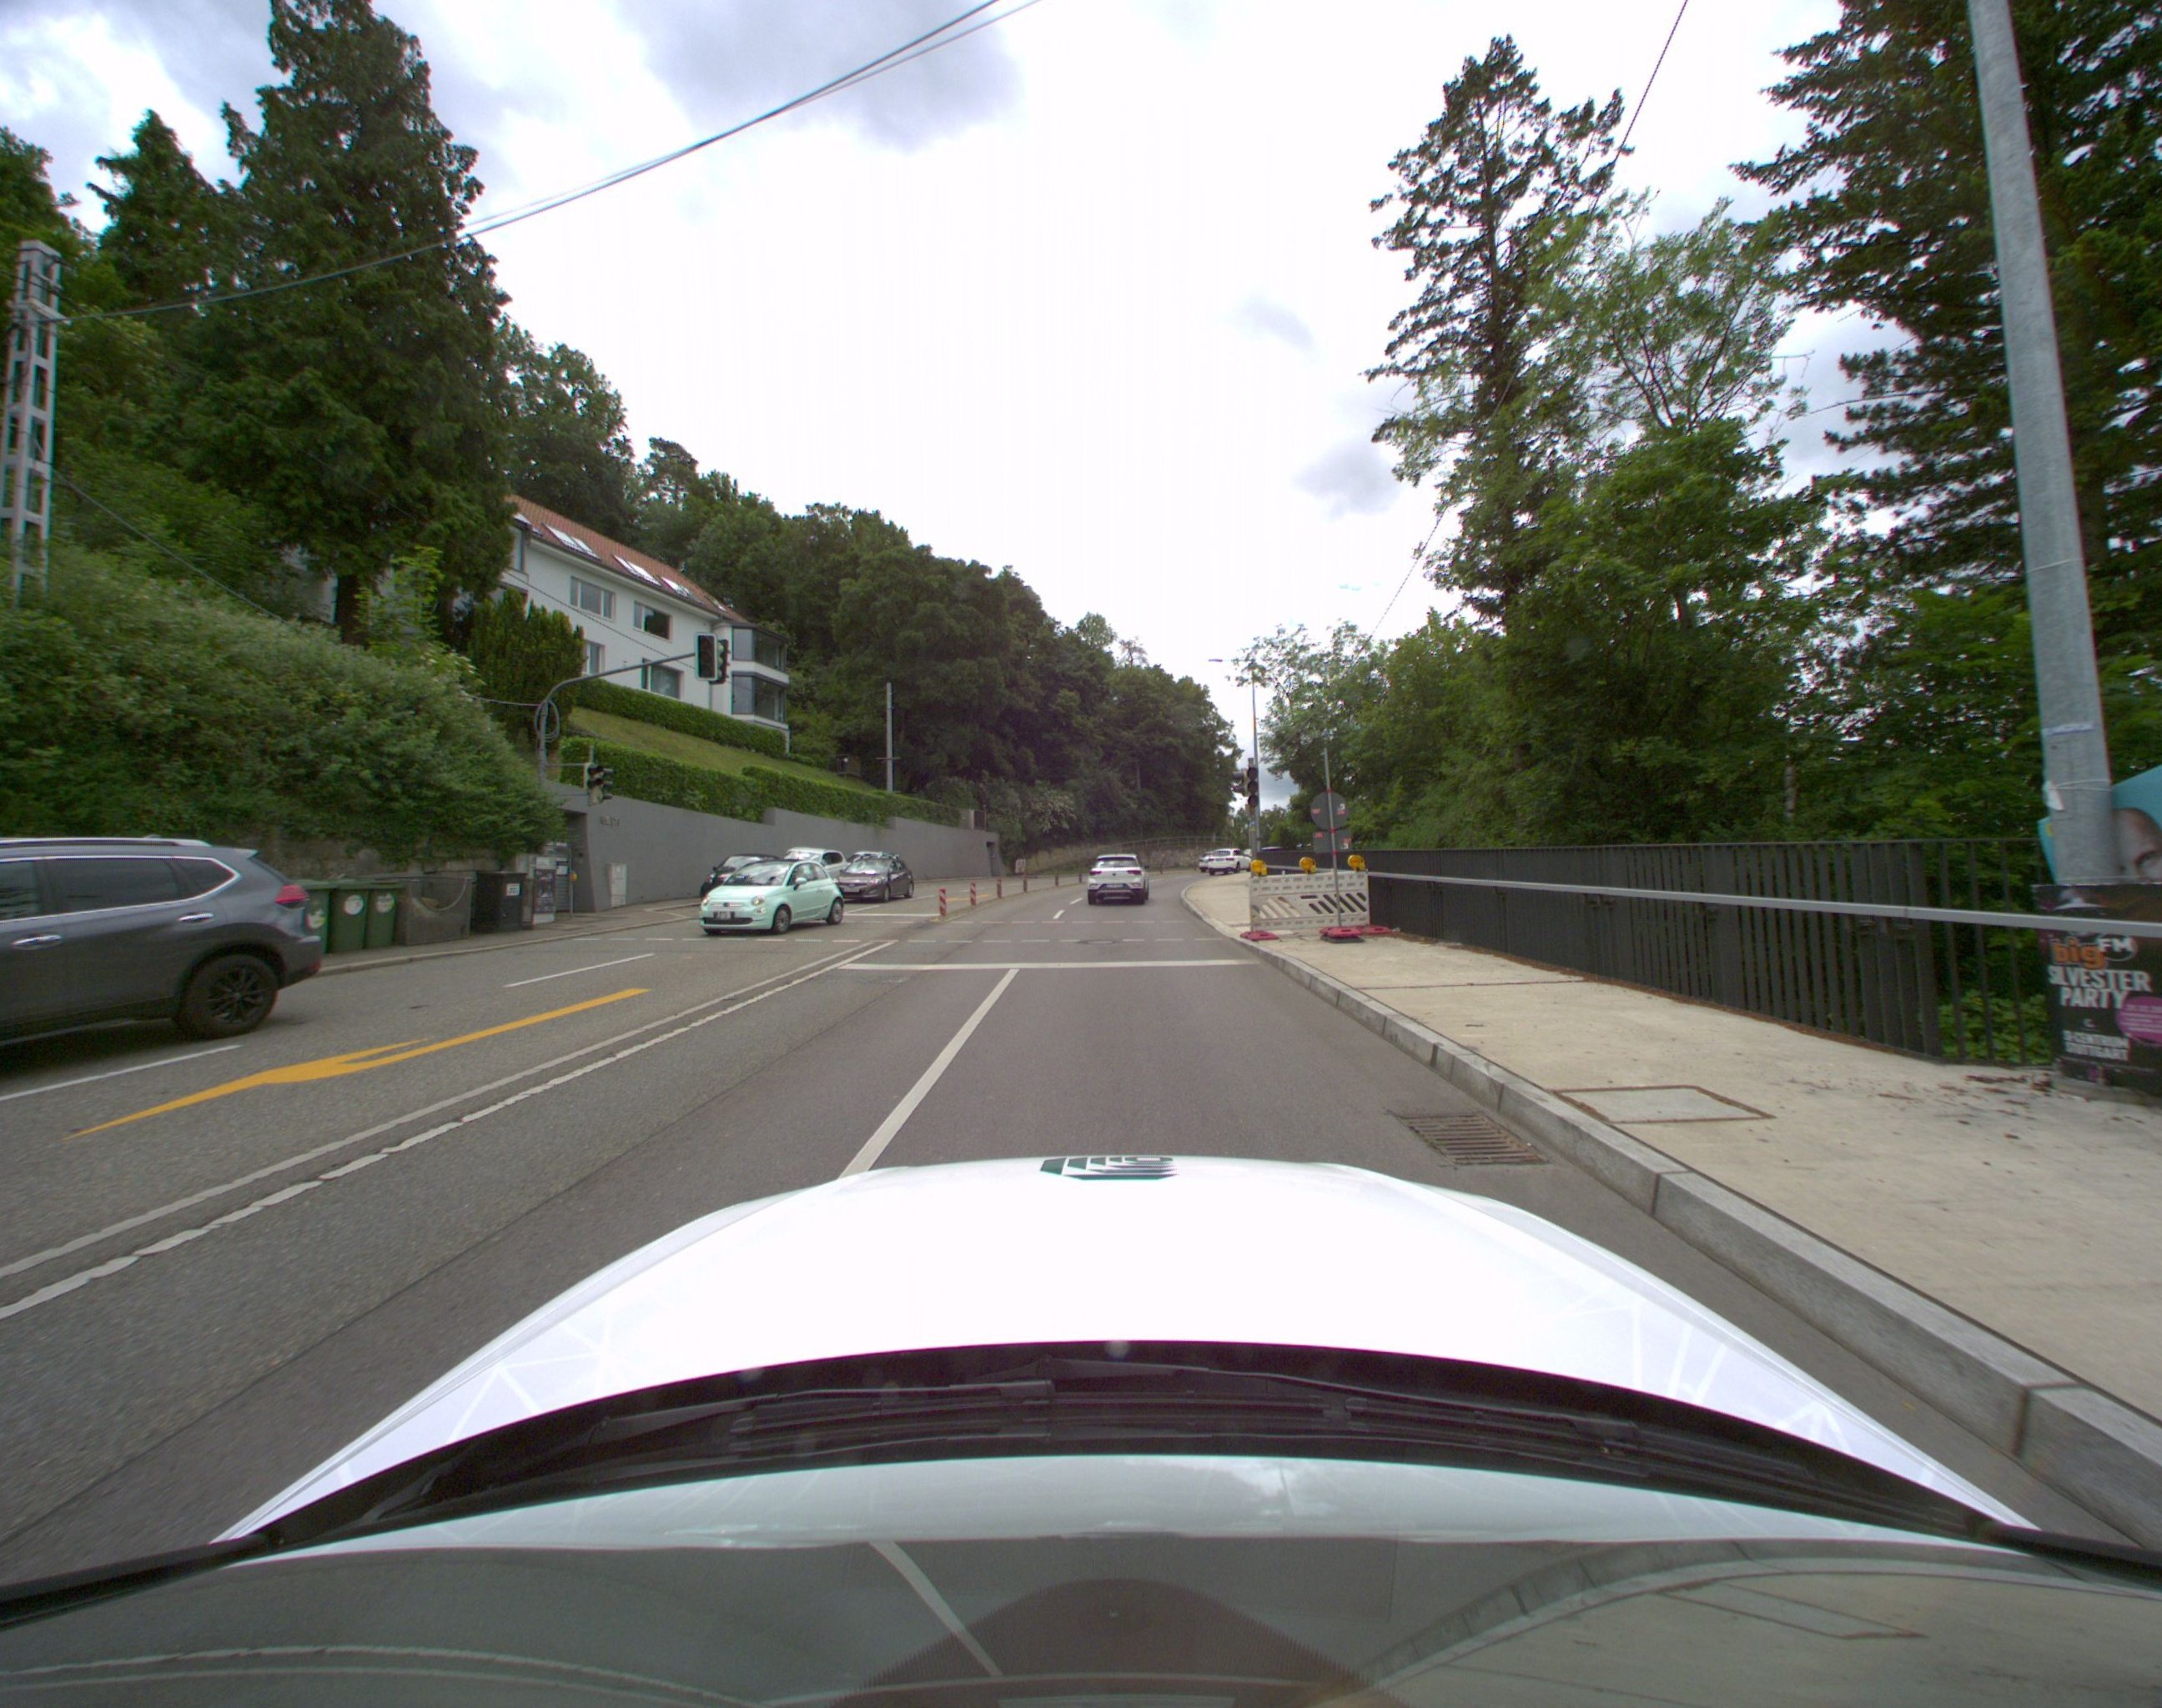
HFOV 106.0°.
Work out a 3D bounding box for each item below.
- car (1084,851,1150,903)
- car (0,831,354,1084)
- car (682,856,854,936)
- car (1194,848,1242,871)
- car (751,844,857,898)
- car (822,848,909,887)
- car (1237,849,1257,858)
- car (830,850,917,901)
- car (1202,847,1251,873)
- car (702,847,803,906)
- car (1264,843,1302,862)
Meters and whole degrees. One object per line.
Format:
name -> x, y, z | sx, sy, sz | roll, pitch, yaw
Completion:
car -> 1.238, 0.696, 26.300 | 1.857, 1.536, 3.811 | 0, 0, 6
car -> -8.189, 0.700, 5.716 | 1.876, 1.697, 4.673 | 0, 0, 2
car -> -6.417, 0.785, 17.137 | 1.700, 1.466, 3.671 | 0, 0, 10
car -> 9.826, 0.418, 58.201 | 1.888, 1.574, 4.025 | 0, 0, 34
car -> -9.822, 0.564, 29.351 | 1.851, 1.731, 4.766 | 1, 0, 4
car -> -9.183, 0.566, 35.081 | 1.821, 1.572, 4.488 | 1, 0, 11
car -> 27.719, -0.075, 135.891 | 1.907, 1.574, 3.985 | 1, 0, -11
car -> -6.947, 0.698, 27.727 | 1.704, 1.598, 4.209 | 0, 0, 3
car -> 9.298, 0.358, 51.877 | 1.975, 1.586, 4.023 | 0, 0, 27
car -> -9.872, 0.637, 24.708 | 1.704, 1.573, 2.960 | 3, 1, 2
car -> 16.975, -0.138, 68.259 | 1.974, 1.541, 4.035 | 0, 0, 31
